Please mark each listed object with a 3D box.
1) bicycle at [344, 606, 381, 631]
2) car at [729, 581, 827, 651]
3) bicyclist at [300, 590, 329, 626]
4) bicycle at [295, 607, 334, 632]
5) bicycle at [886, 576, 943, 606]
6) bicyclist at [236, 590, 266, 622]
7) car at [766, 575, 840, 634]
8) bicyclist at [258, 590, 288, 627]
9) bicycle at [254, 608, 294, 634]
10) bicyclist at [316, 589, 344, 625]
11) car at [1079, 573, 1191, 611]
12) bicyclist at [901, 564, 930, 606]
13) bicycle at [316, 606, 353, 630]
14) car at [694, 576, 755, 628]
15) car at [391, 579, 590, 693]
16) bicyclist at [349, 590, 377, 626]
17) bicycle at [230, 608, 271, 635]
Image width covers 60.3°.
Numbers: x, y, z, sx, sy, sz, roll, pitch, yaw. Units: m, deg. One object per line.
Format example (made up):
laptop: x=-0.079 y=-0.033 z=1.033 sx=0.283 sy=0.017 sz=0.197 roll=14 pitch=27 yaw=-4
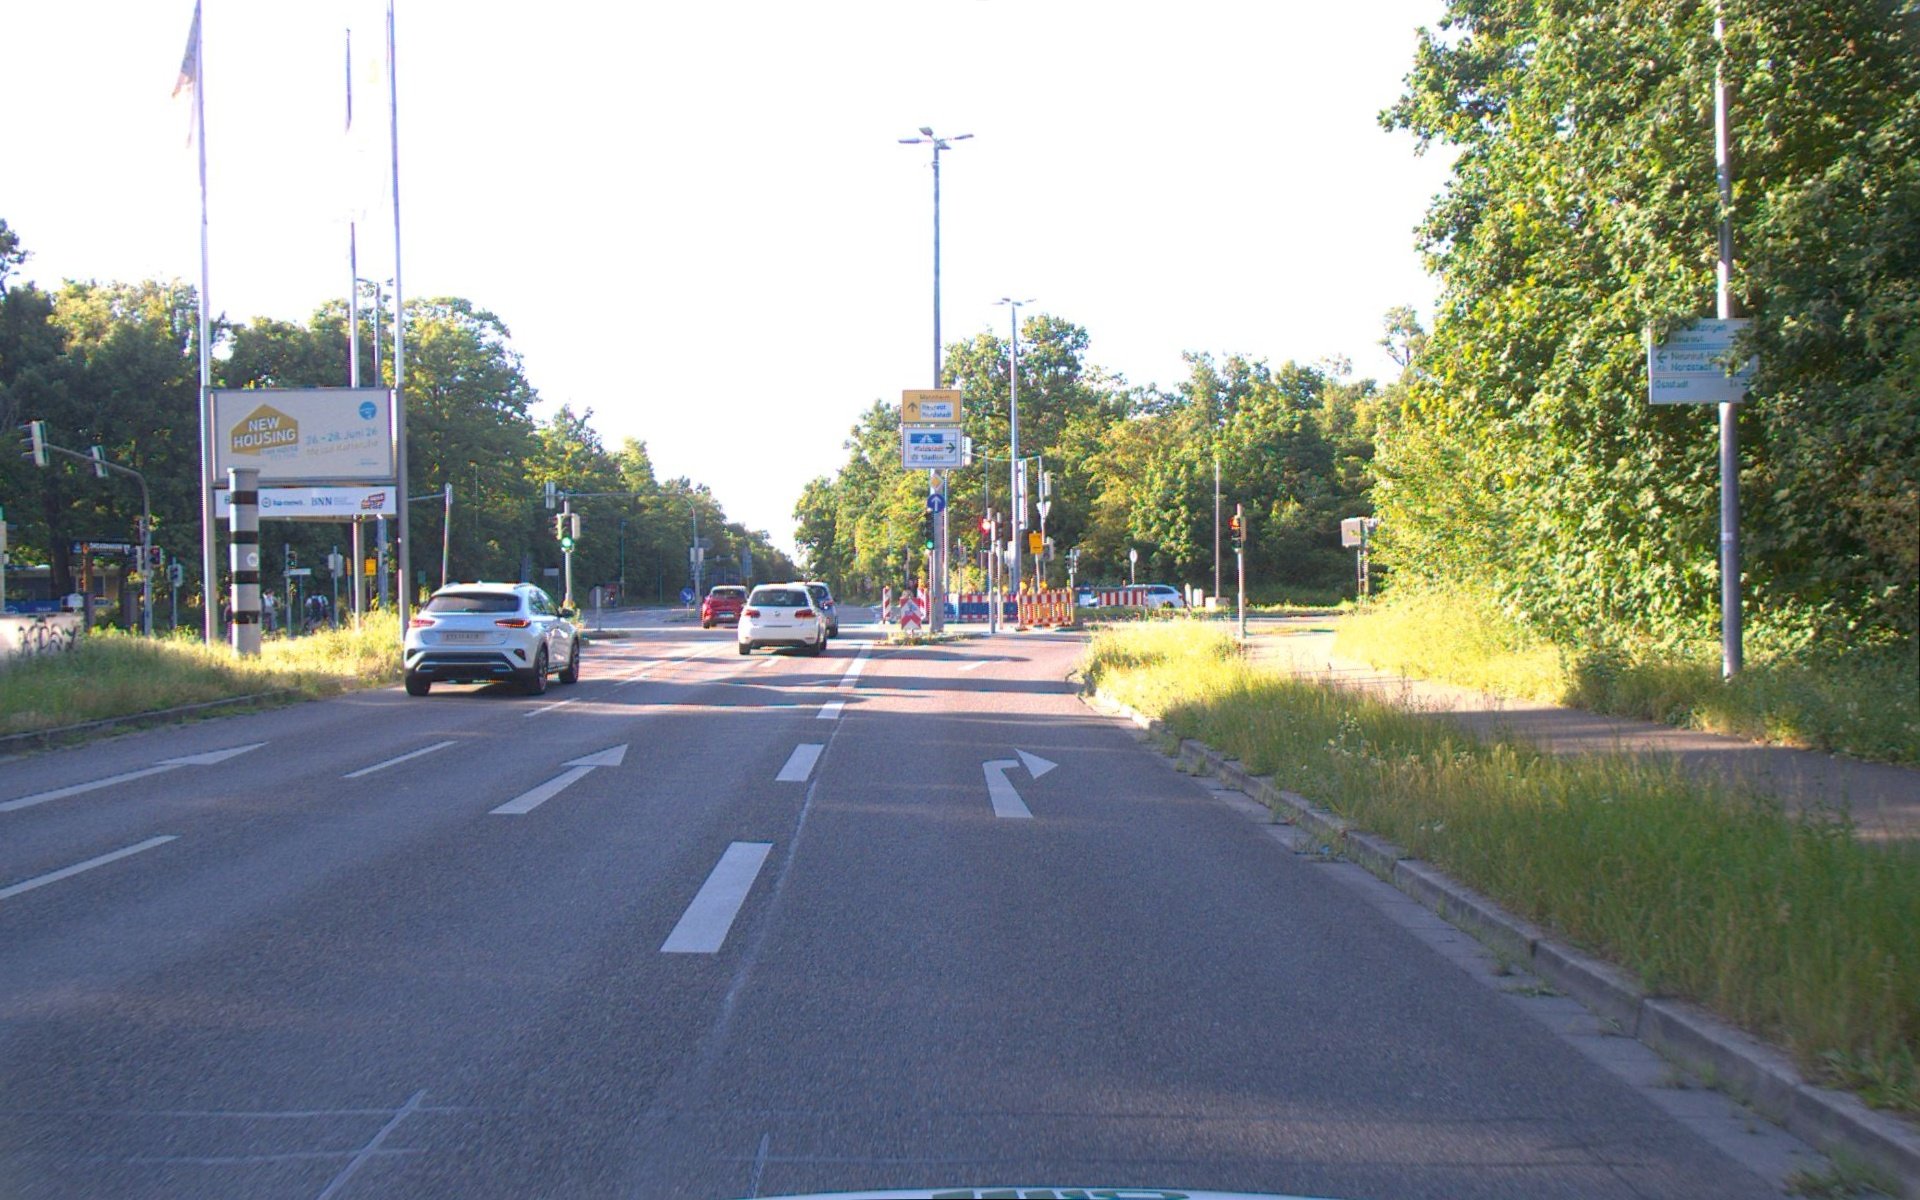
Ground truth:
bicycle: x=-23.135 y=0.705 z=64.024 sx=0.700 sy=0.930 sz=1.911 roll=-1 pitch=1 yaw=1
car: x=-3.955 y=0.314 z=36.517 sx=1.901 sy=1.439 sz=3.998 roll=-1 pitch=1 yaw=-3
bicyclist: x=-24.985 y=0.300 z=64.009 sx=0.700 sy=1.379 sz=0.990 roll=-1 pitch=0 yaw=1
bicycle: x=-24.979 y=0.742 z=64.015 sx=0.700 sy=0.930 sz=1.911 roll=-1 pitch=1 yaw=1
bicycle: x=-2.162 y=-0.428 z=78.557 sx=2.609 sy=1.407 sz=0.957 roll=0 pitch=1 yaw=-35
bicyclist: x=-27.079 y=0.215 z=63.157 sx=0.700 sy=1.213 sz=0.990 roll=-1 pitch=0 yaw=1
car: x=-4.453 y=0.101 z=46.693 sx=1.955 sy=1.563 sz=3.995 roll=-1 pitch=1 yaw=-6
bicyclist: x=-26.187 y=0.321 z=63.086 sx=0.696 sy=1.414 sz=0.990 roll=-1 pitch=0 yaw=1
bicycle: x=-26.174 y=0.810 z=63.123 sx=0.700 sy=0.930 sz=1.911 roll=-1 pitch=1 yaw=1
bicyclist: x=-25.005 y=0.272 z=65.646 sx=0.700 sy=1.365 sz=0.990 roll=-1 pitch=0 yaw=1
car: x=8.011 y=-0.380 z=75.537 sx=4.755 sy=1.608 sz=1.985 roll=-1 pitch=0 yaw=-24
bicyclist: x=-2.127 y=-0.728 z=78.589 sx=1.004 sy=1.963 sz=0.957 roll=0 pitch=1 yaw=-34
bicycle: x=-24.991 y=0.715 z=66.107 sx=0.700 sy=0.930 sz=1.911 roll=-1 pitch=1 yaw=1
car: x=-8.209 y=0.043 z=57.993 sx=1.955 sy=1.714 sz=3.995 roll=-1 pitch=1 yaw=-6
car: x=-6.514 y=0.451 z=23.377 sx=1.826 sy=1.469 sz=3.998 roll=0 pitch=0 yaw=-3
bicyclist: x=-23.138 y=0.304 z=64.081 sx=0.700 sy=1.362 sz=0.990 roll=-1 pitch=0 yaw=1
bicycle: x=-27.067 y=0.817 z=63.160 sx=0.700 sy=0.930 sz=1.911 roll=-1 pitch=1 yaw=1
